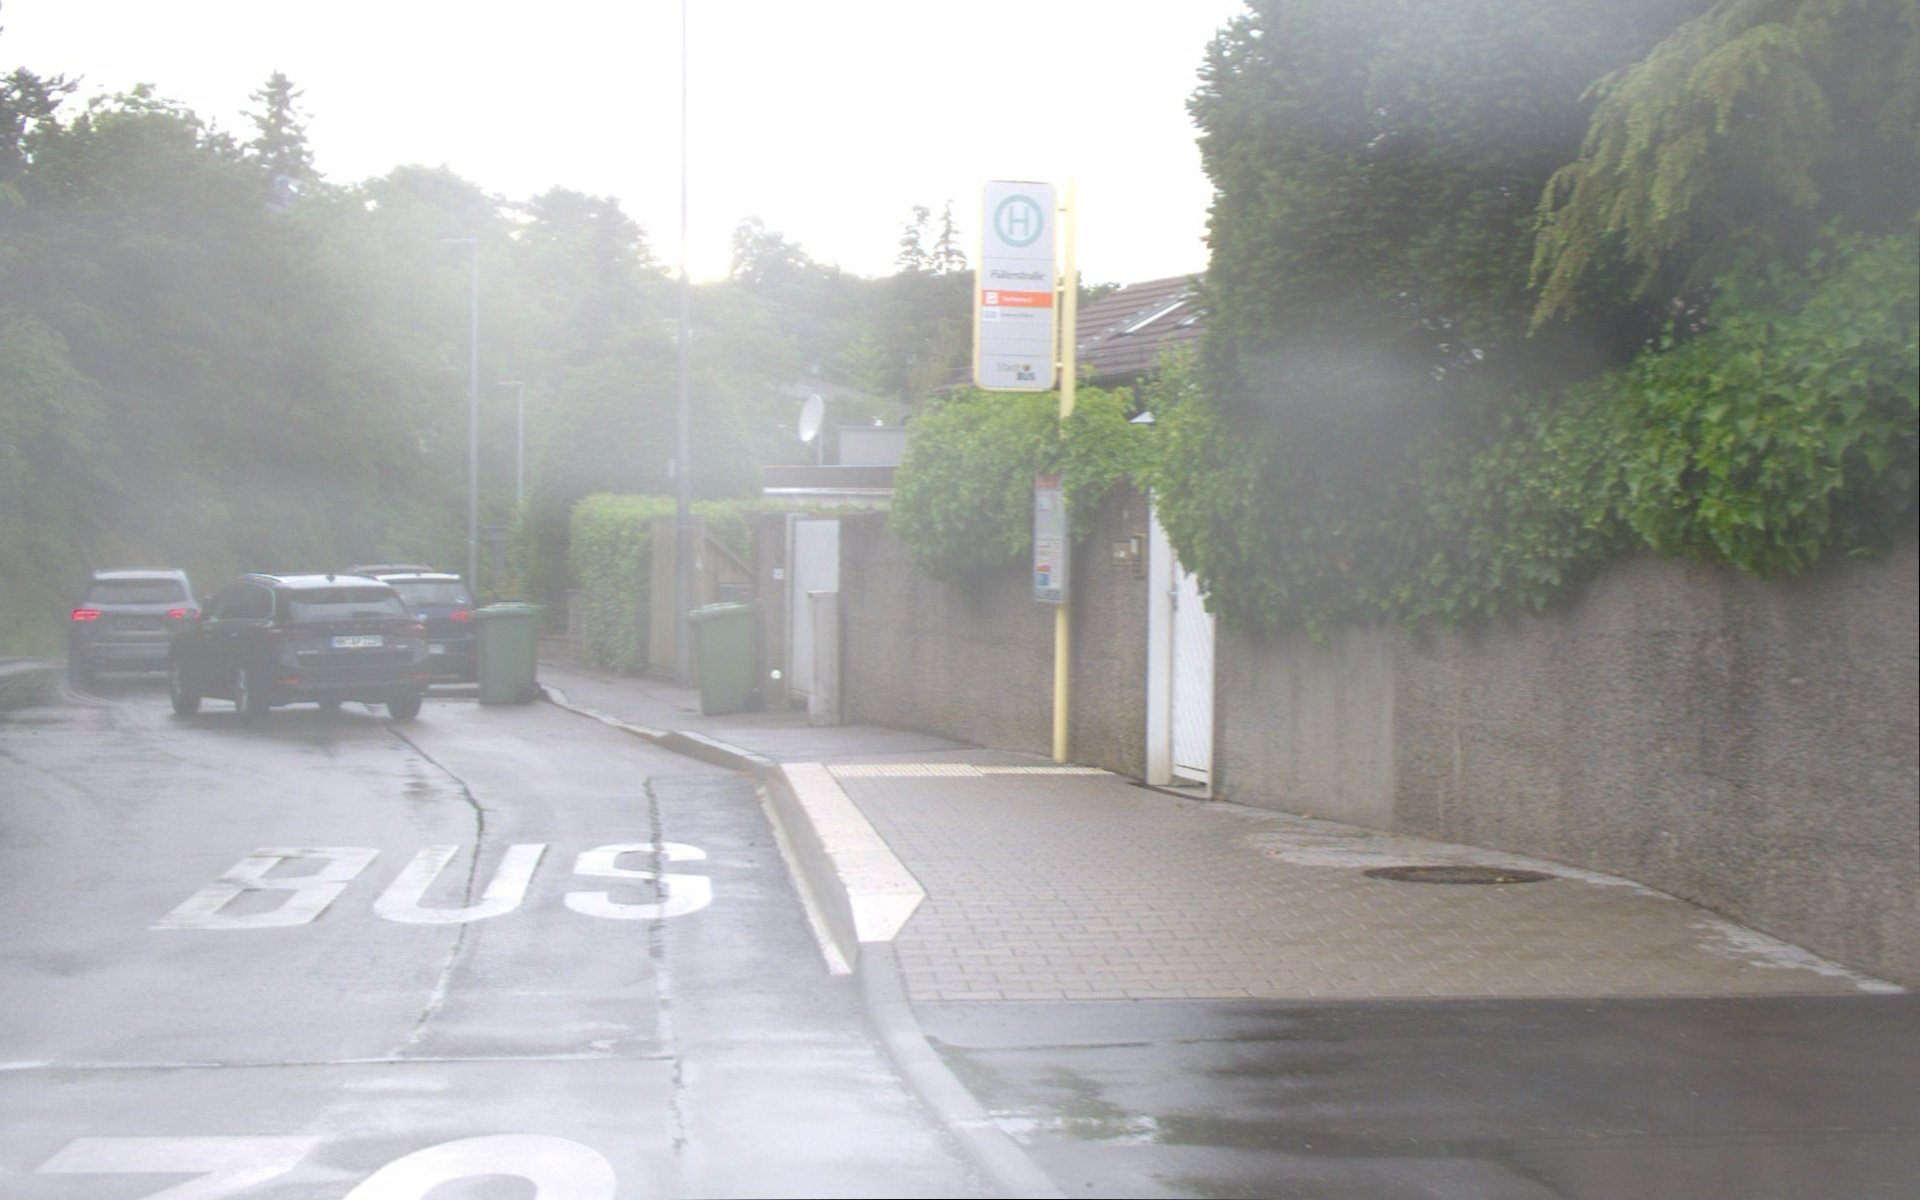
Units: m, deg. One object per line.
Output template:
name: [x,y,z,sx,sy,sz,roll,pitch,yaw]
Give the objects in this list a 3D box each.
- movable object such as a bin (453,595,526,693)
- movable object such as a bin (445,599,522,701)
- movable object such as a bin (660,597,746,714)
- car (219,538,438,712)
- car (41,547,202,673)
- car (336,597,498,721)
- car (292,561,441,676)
movable object such as a bin: [-5.293,0.495,38.627,0.728,1.075,0.661,1,1,-15]
movable object such as a bin: [-5.197,0.544,37.473,0.715,1.092,0.656,1,1,-17]
movable object such as a bin: [-2.499,0.531,33.329,0.738,1.085,0.600,-2,1,-10]
car: [-6.412,0.309,34.596,1.868,1.507,4.093,2,-3,-14]
car: [-11.277,0.106,46.363,1.993,1.600,4.410,1,1,-13]
car: [-7.087,0.733,44.552,1.755,1.457,4.302,1,1,-13]
car: [-8.668,0.227,49.961,1.874,1.586,4.481,0,1,-13]
